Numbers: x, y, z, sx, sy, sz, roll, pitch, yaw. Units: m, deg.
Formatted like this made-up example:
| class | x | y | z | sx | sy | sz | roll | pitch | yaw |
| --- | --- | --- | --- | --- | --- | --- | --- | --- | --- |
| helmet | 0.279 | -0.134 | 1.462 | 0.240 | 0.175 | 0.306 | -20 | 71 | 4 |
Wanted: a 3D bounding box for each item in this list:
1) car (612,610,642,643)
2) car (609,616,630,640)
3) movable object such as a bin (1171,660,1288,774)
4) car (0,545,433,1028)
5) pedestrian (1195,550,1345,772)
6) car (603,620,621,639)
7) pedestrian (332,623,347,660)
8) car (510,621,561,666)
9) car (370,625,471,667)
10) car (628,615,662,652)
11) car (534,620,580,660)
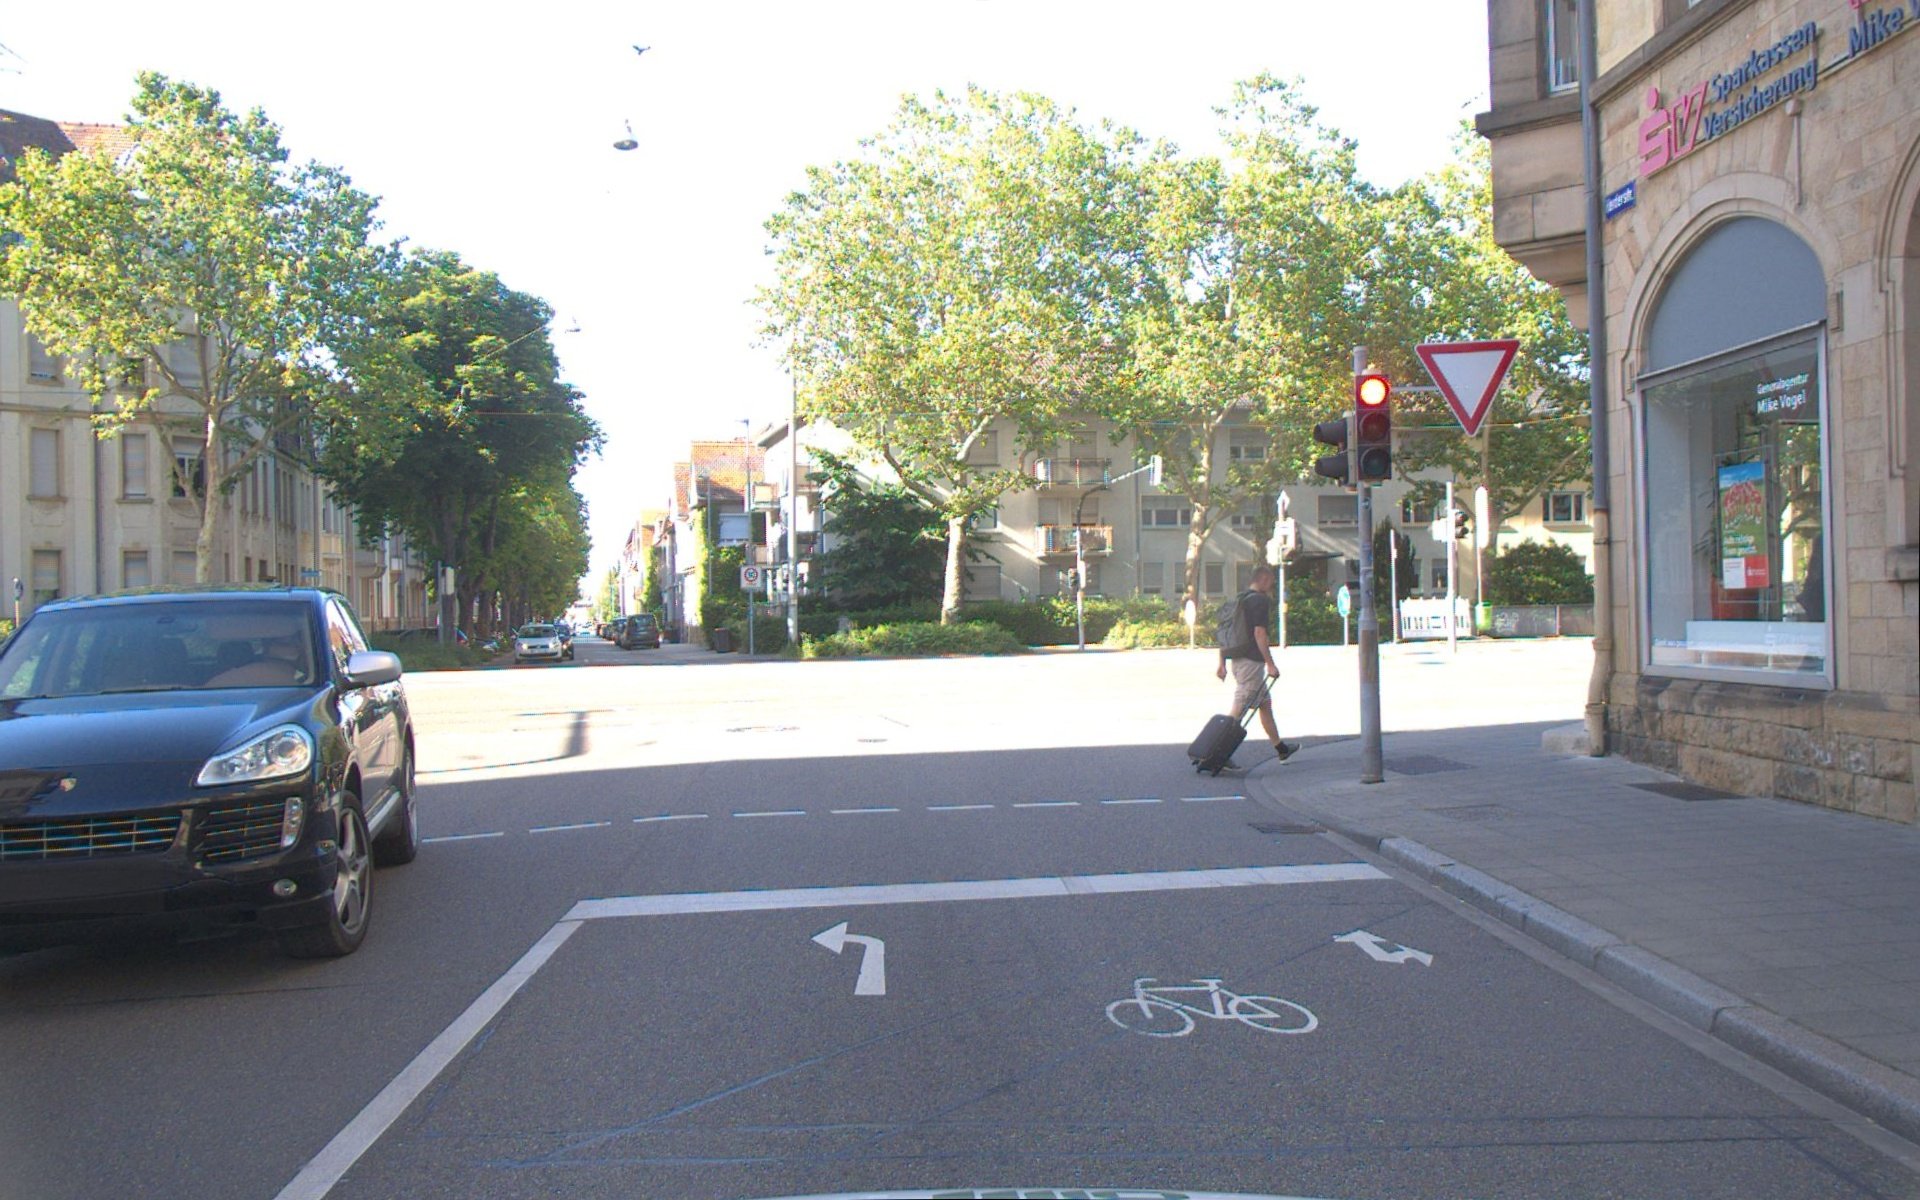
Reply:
| class | x | y | z | sx | sy | sz | roll | pitch | yaw |
| --- | --- | --- | --- | --- | --- | --- | --- | --- | --- |
| car | -21.013 | 1.642 | 104.305 | 1.742 | 1.952 | 3.523 | -3 | 1 | -12 |
| car | -30.046 | 2.433 | 145.950 | 1.742 | 1.952 | 3.523 | -3 | 1 | -12 |
| movable object such as a bin | 2.313 | 0.994 | 14.234 | 0.847 | 0.907 | 0.508 | -2 | 0 | -13 |
| car | -3.926 | 0.736 | 8.395 | 2.038 | 1.723 | 4.690 | -3 | 0 | -14 |
| pedestrian | 2.762 | 0.523 | 14.804 | 1.047 | 1.881 | 0.746 | -2 | 0 | -13 |
| car | -37.937 | 3.233 | 180.199 | 1.742 | 1.952 | 3.523 | -3 | 1 | -12 |
| pedestrian | -24.619 | 1.645 | 65.598 | 0.480 | 1.467 | 0.702 | 1 | -1 | -16 |
| car | -16.167 | 1.630 | 63.093 | 1.669 | 1.509 | 3.523 | -3 | 1 | -12 |
| car | -20.447 | 1.730 | 62.821 | 3.572 | 1.483 | 1.650 | -1 | 0 | -16 |
| car | -17.978 | 1.907 | 94.232 | 1.742 | 1.952 | 3.523 | -3 | 1 | -12 |
| car | -16.843 | 1.647 | 69.230 | 1.669 | 1.509 | 3.523 | -3 | 1 | -12 |
